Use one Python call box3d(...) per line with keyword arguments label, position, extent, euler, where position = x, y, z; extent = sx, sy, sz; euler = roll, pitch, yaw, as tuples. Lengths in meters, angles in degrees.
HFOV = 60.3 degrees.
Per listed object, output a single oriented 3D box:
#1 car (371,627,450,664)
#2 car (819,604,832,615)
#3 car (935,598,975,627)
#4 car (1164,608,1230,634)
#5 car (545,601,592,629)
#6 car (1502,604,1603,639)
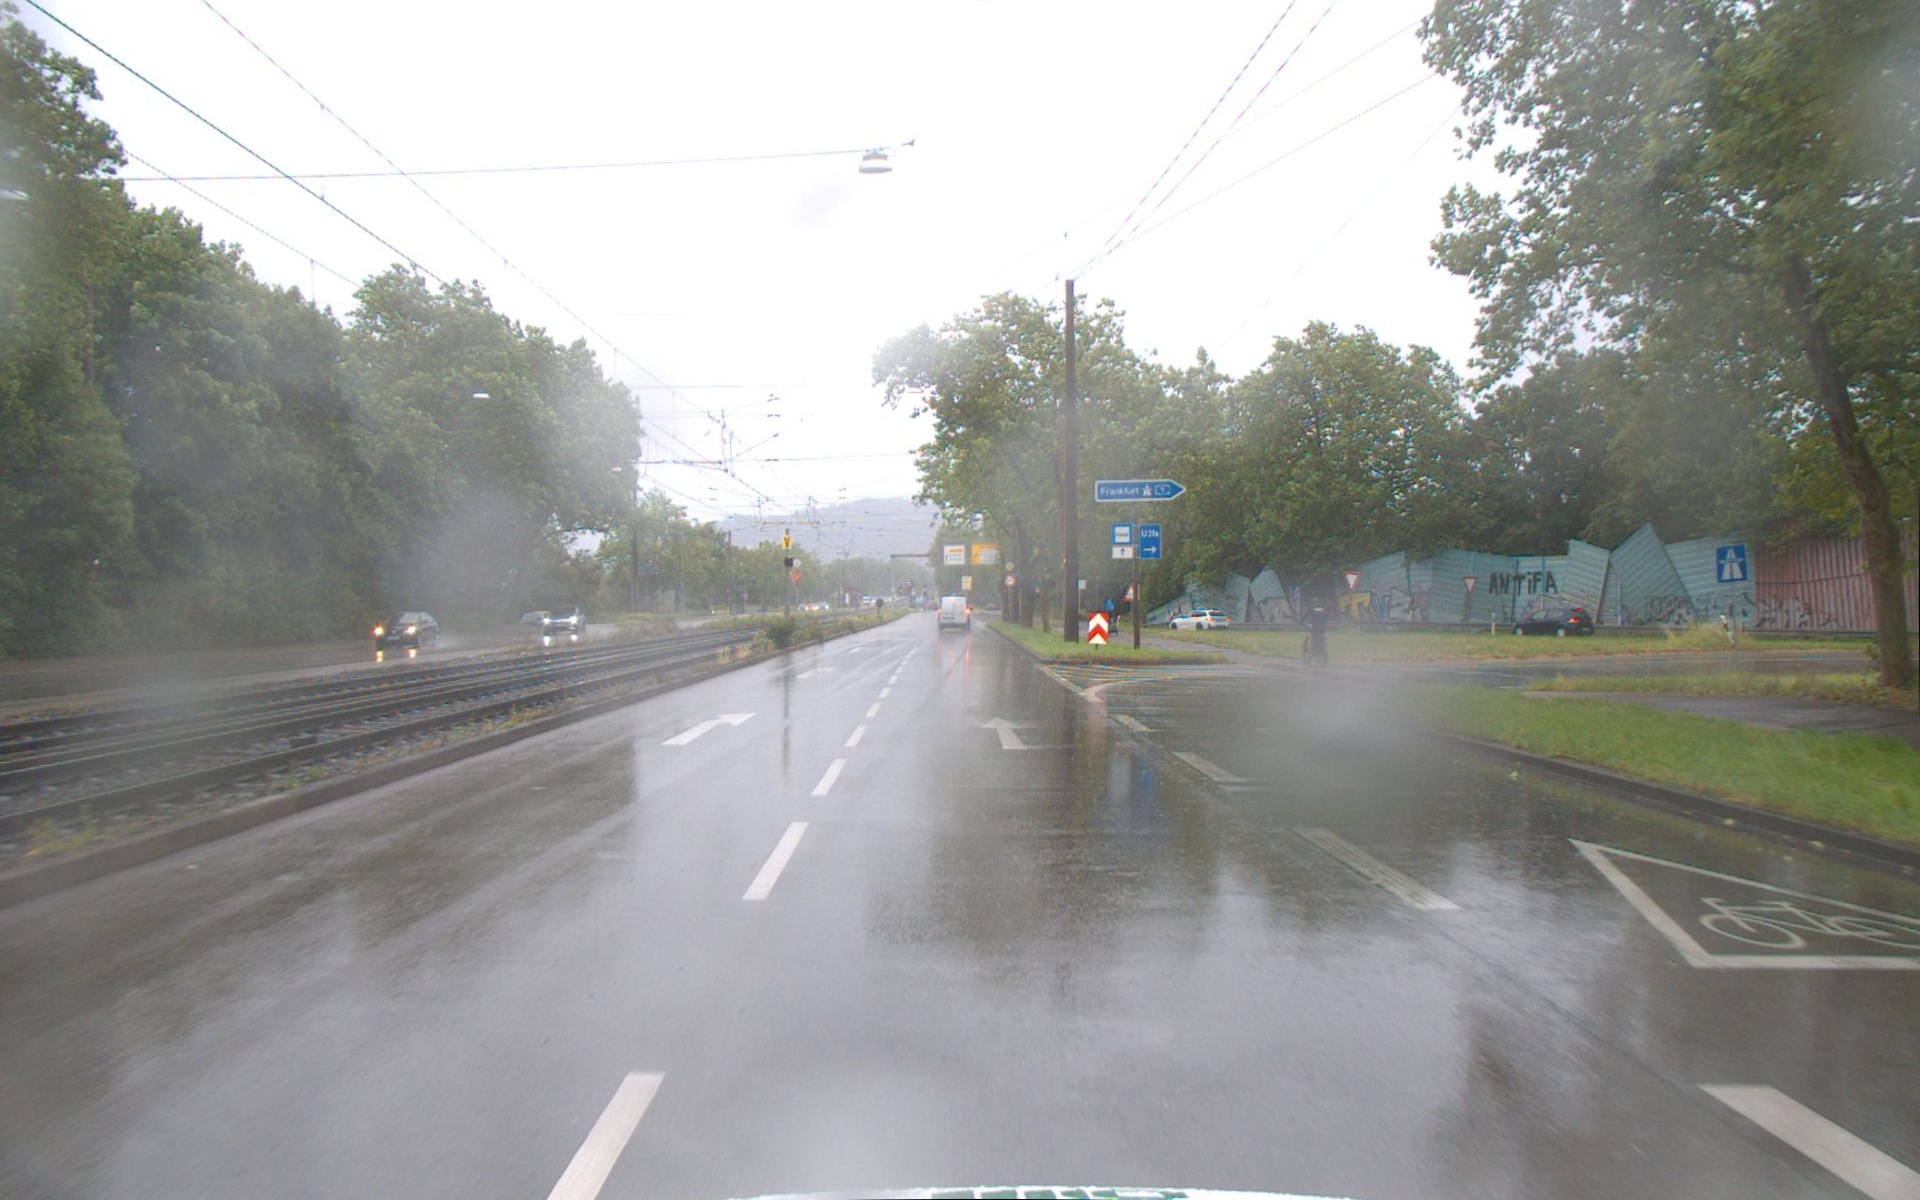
box3d(label="car", position=(-21.382, 1.750, 64.530), extent=(1.736, 1.354, 4.378), euler=(0, 0, -2))
box3d(label="car", position=(-20.629, 1.453, 253.652), extent=(1.905, 1.644, 4.984), euler=(0, 0, -5))
box3d(label="car", position=(-0.281, 0.674, 86.857), extent=(2.035, 1.445, 3.999), euler=(-1, 0, -1))
box3d(label="car", position=(14.773, 1.308, 103.406), extent=(1.926, 1.563, 4.426), euler=(0, 0, -28))
box3d(label="car", position=(-21.863, 0.823, 92.491), extent=(1.656, 1.550, 4.953), euler=(0, 0, -2))
box3d(label="car", position=(27.649, 0.984, 77.318), extent=(1.840, 1.563, 4.478), euler=(0, 0, -26))
